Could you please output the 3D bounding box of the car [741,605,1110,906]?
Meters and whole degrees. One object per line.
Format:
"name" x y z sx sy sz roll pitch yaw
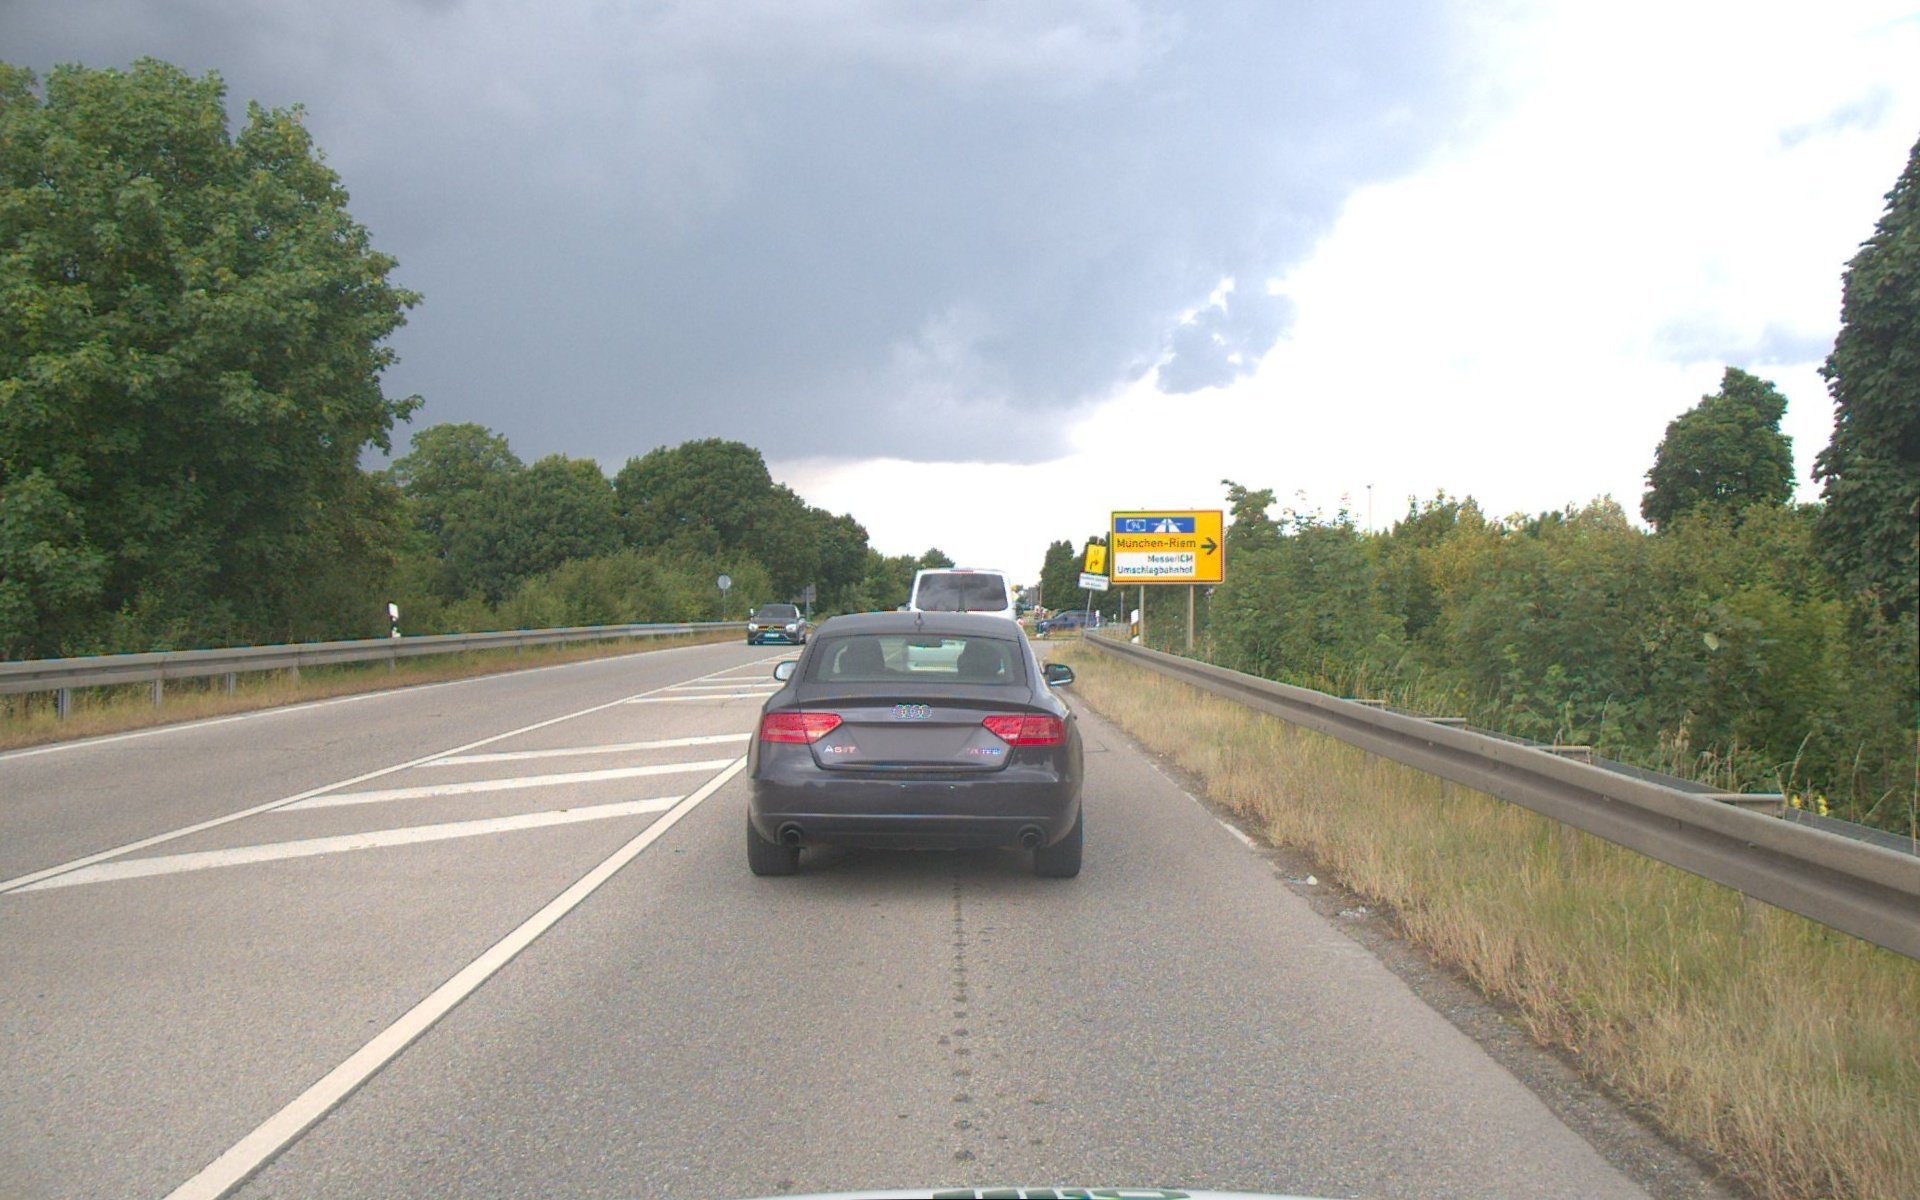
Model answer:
"car" -0.184 0.751 9.536 1.743 1.423 3.335 0 0 -1

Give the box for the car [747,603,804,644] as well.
"car" -6.574 0.816 59.199 1.589 1.403 4.511 0 0 -1

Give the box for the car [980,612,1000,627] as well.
"car" 3.369 2.167 185.674 2.161 1.610 4.378 1 0 -1

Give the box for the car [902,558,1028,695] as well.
"car" 0.057 0.404 27.115 1.871 2.049 3.999 1 0 -1
